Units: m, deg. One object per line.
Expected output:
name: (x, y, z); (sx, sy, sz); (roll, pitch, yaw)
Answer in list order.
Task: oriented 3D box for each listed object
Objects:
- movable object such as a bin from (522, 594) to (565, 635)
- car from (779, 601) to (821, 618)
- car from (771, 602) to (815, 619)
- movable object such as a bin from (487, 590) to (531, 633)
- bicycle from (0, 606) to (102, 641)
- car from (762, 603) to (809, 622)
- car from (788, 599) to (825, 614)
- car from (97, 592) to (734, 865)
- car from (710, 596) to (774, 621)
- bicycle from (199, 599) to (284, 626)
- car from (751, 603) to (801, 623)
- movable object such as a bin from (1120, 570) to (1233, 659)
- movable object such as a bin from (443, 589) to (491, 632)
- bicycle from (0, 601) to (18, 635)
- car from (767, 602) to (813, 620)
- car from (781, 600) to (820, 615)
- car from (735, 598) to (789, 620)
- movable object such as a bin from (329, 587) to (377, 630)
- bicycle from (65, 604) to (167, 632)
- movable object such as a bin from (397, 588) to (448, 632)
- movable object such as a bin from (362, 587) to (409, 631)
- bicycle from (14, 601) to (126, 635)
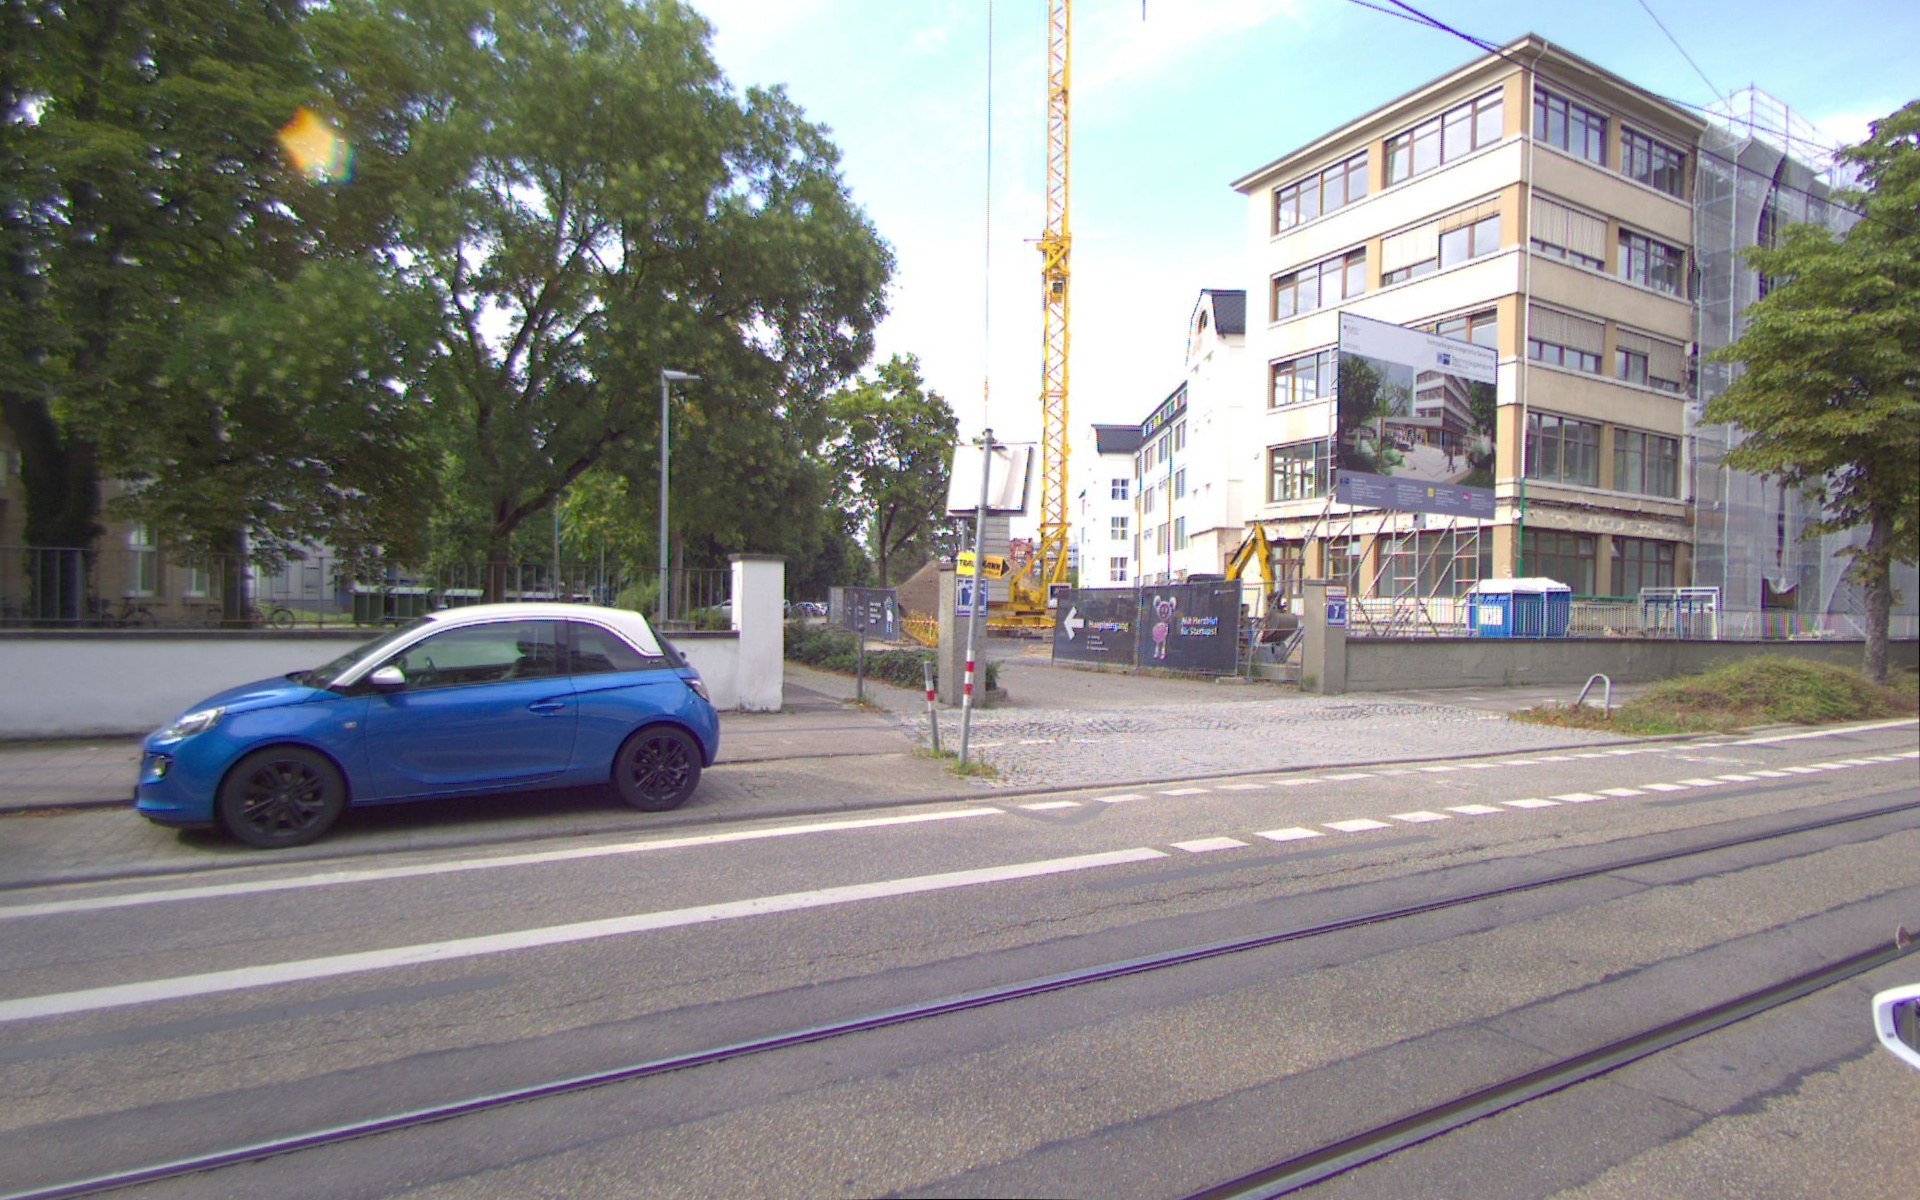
movable object such as a bin: (-13.784, 0.468, 33.244); (1.073, 1.290, 0.861); (1, 1, -3)
car: (-15.093, 0.911, 94.920); (3.927, 1.518, 1.911); (1, 0, -9)
car: (-15.294, 0.944, 92.254); (3.927, 1.518, 1.911); (1, 0, -9)
movable object such as a bin: (-15.018, 0.385, 33.466); (1.073, 1.393, 0.861); (1, 1, -3)
bicycle: (-21.960, 0.570, 24.093); (2.010, 0.783, 0.713); (1, 1, -10)
car: (-14.865, 1.027, 85.745); (3.927, 1.518, 1.911); (1, 0, -9)
car: (-16.545, 0.724, 108.402); (3.927, 1.518, 1.911); (1, 0, -9)
car: (-3.677, 0.749, 7.285); (3.634, 1.507, 1.685); (1, 1, -30)
car: (-13.961, 0.563, 64.511); (3.927, 1.518, 1.911); (1, 0, -9)
bicycle: (-22.177, 0.371, 31.013); (2.010, 0.783, 0.713); (1, 1, -10)
car: (-15.076, 1.059, 82.311); (3.927, 1.518, 1.911); (1, 0, -9)
movable object such as a bin: (5.398, 0.353, 25.158); (1.935, 2.095, 1.979); (1, 0, -27)
movable object such as a bin: (-16.440, 0.351, 33.516); (1.180, 1.393, 0.861); (1, 1, -3)
bicycle: (-21.882, 0.375, 21.823); (2.010, 0.718, 0.713); (1, 1, -10)
car: (-14.995, 0.992, 88.549); (3.927, 1.518, 1.911); (1, 0, -9)
car: (-16.565, 0.765, 104.284); (3.927, 1.518, 1.911); (1, 0, -9)
car: (-14.913, 0.682, 75.881); (3.927, 1.518, 1.911); (1, 0, -9)
movable object such as a bin: (-20.151, 0.267, 33.356); (1.001, 1.393, 0.970); (1, 1, -3)
bicycle: (-22.466, 0.476, 26.782); (2.028, 0.718, 0.707); (1, 1, -37)
movable object such as a bin: (-17.860, 0.320, 33.390); (1.180, 1.393, 0.970); (1, 1, -3)
movable object such as a bin: (-19.082, 0.291, 33.390); (1.001, 1.393, 0.970); (1, 1, -3)
bicycle: (-22.148, 0.439, 25.033); (2.010, 0.783, 0.713); (1, 1, -10)
